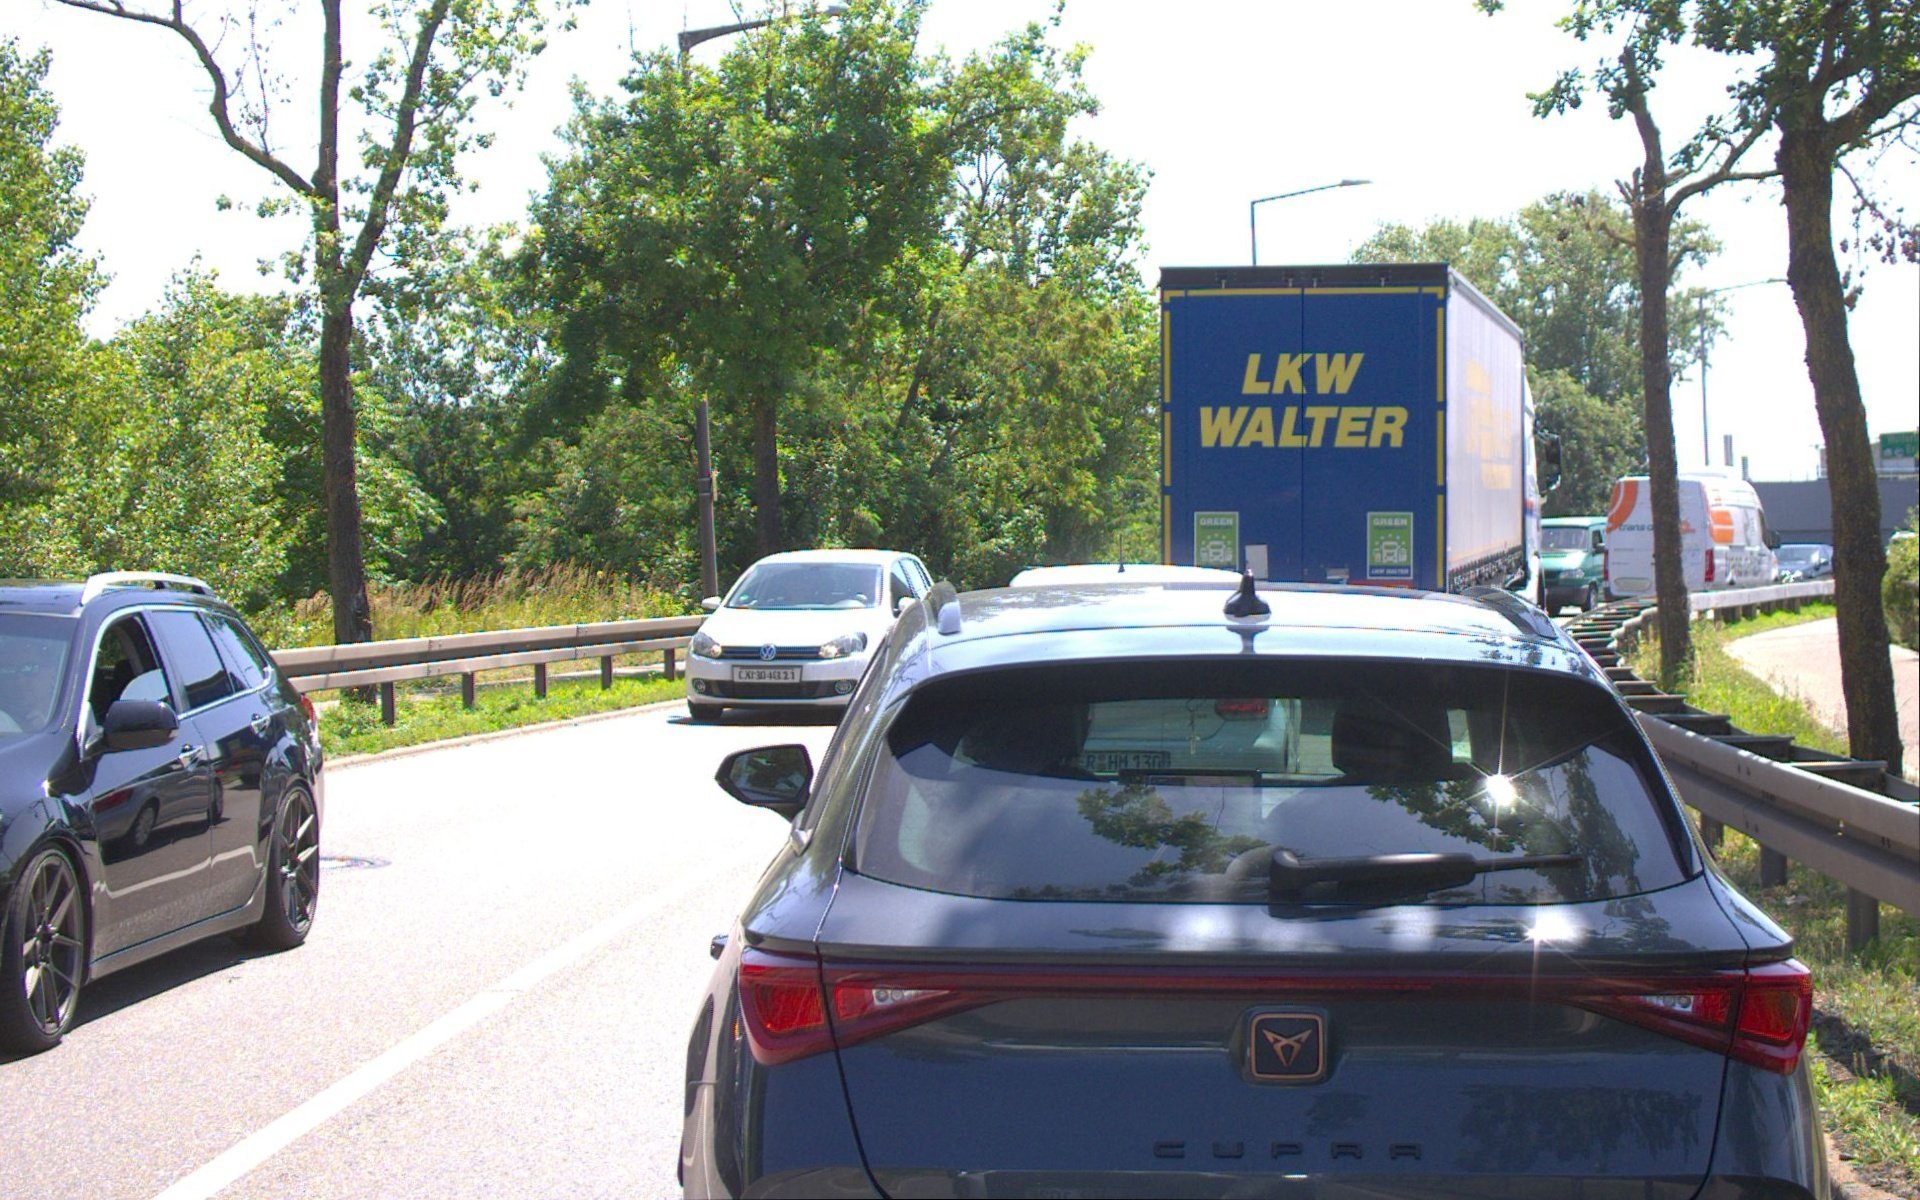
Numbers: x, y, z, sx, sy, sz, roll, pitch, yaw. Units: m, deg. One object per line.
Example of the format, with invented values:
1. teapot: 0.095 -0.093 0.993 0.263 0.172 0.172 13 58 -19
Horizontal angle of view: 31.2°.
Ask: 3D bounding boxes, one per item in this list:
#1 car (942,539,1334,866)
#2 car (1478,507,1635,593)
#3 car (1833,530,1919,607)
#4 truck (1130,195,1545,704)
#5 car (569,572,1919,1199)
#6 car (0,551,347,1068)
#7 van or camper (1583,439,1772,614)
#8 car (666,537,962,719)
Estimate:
1. car: 0.835 0.449 18.013 1.809 1.503 4.000 1 1 0
2. car: 12.146 -1.007 69.739 2.132 1.675 4.874 1 1 22
3. car: 21.711 -0.725 78.984 1.997 1.706 4.612 1 1 30
4. truck: 4.702 -1.434 38.481 2.951 4.433 16.789 1 1 12
5. car: 0.386 0.687 6.190 1.744 1.427 3.880 1 1 0
6. car: -3.494 0.567 11.311 1.860 1.416 4.257 1 1 5
7. van or camper: 12.986 -1.309 61.925 2.469 2.988 6.080 1 1 20
8. car: -1.226 0.206 30.720 1.875 1.493 3.999 1 1 9
